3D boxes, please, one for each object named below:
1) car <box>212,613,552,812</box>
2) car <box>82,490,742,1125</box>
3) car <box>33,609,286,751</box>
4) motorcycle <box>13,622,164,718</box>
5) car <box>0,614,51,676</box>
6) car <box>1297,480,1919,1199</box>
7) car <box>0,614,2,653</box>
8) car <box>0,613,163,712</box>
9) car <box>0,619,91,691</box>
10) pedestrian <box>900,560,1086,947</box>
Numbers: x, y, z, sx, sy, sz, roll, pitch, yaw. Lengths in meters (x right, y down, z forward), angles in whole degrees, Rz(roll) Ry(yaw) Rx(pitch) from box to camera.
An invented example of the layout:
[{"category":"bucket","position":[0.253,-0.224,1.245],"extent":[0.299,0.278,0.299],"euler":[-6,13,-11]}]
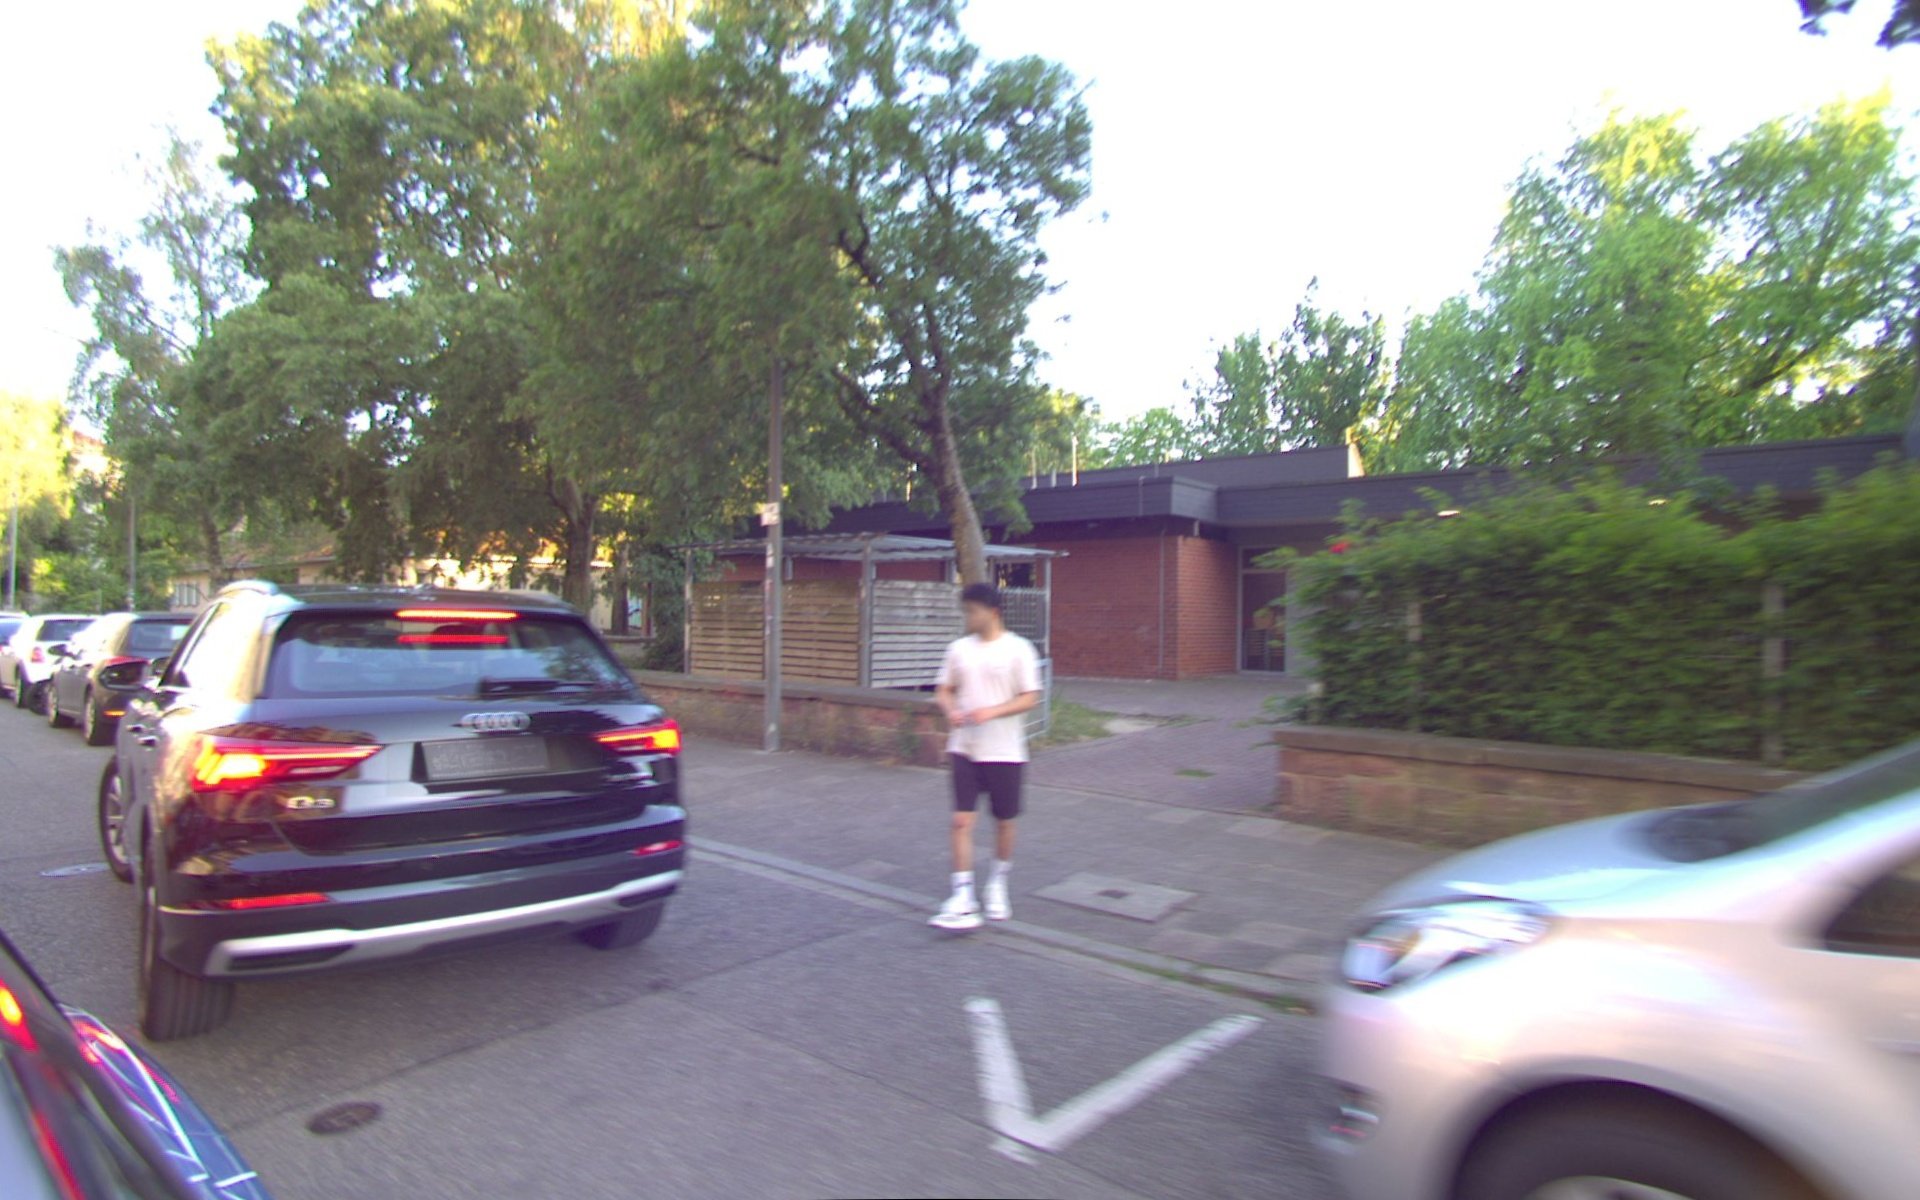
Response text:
[{"category":"car","position":[-5.297,0.867,9.134],"extent":[3.414,1.436,1.603],"euler":[0,-3,41]},{"category":"car","position":[-2.864,0.584,4.743],"extent":[1.713,1.644,4.130],"euler":[3,-3,-43]},{"category":"car","position":[-9.849,0.868,12.358],"extent":[3.803,1.457,1.715],"euler":[0,-3,41]},{"category":"motorcycle","position":[-12.481,0.962,14.523],"extent":[0.785,1.268,1.575],"euler":[0,0,43]},{"category":"car","position":[-22.790,1.008,23.665],"extent":[3.802,1.377,1.716],"euler":[0,-3,40]},{"category":"car","position":[2.729,0.677,1.361],"extent":[3.979,1.644,1.715],"euler":[0,-3,42]},{"category":"car","position":[-29.168,1.053,29.194],"extent":[4.288,1.377,1.716],"euler":[0,-3,40]},{"category":"car","position":[-14.684,0.954,16.621],"extent":[3.802,1.436,1.716],"euler":[0,-3,40]},{"category":"car","position":[-18.960,1.054,20.279],"extent":[3.802,1.297,1.716],"euler":[0,-3,40]},{"category":"pedestrian","position":[0.175,0.670,4.933],"extent":[0.557,1.715,0.739],"euler":[0,1,37]}]
